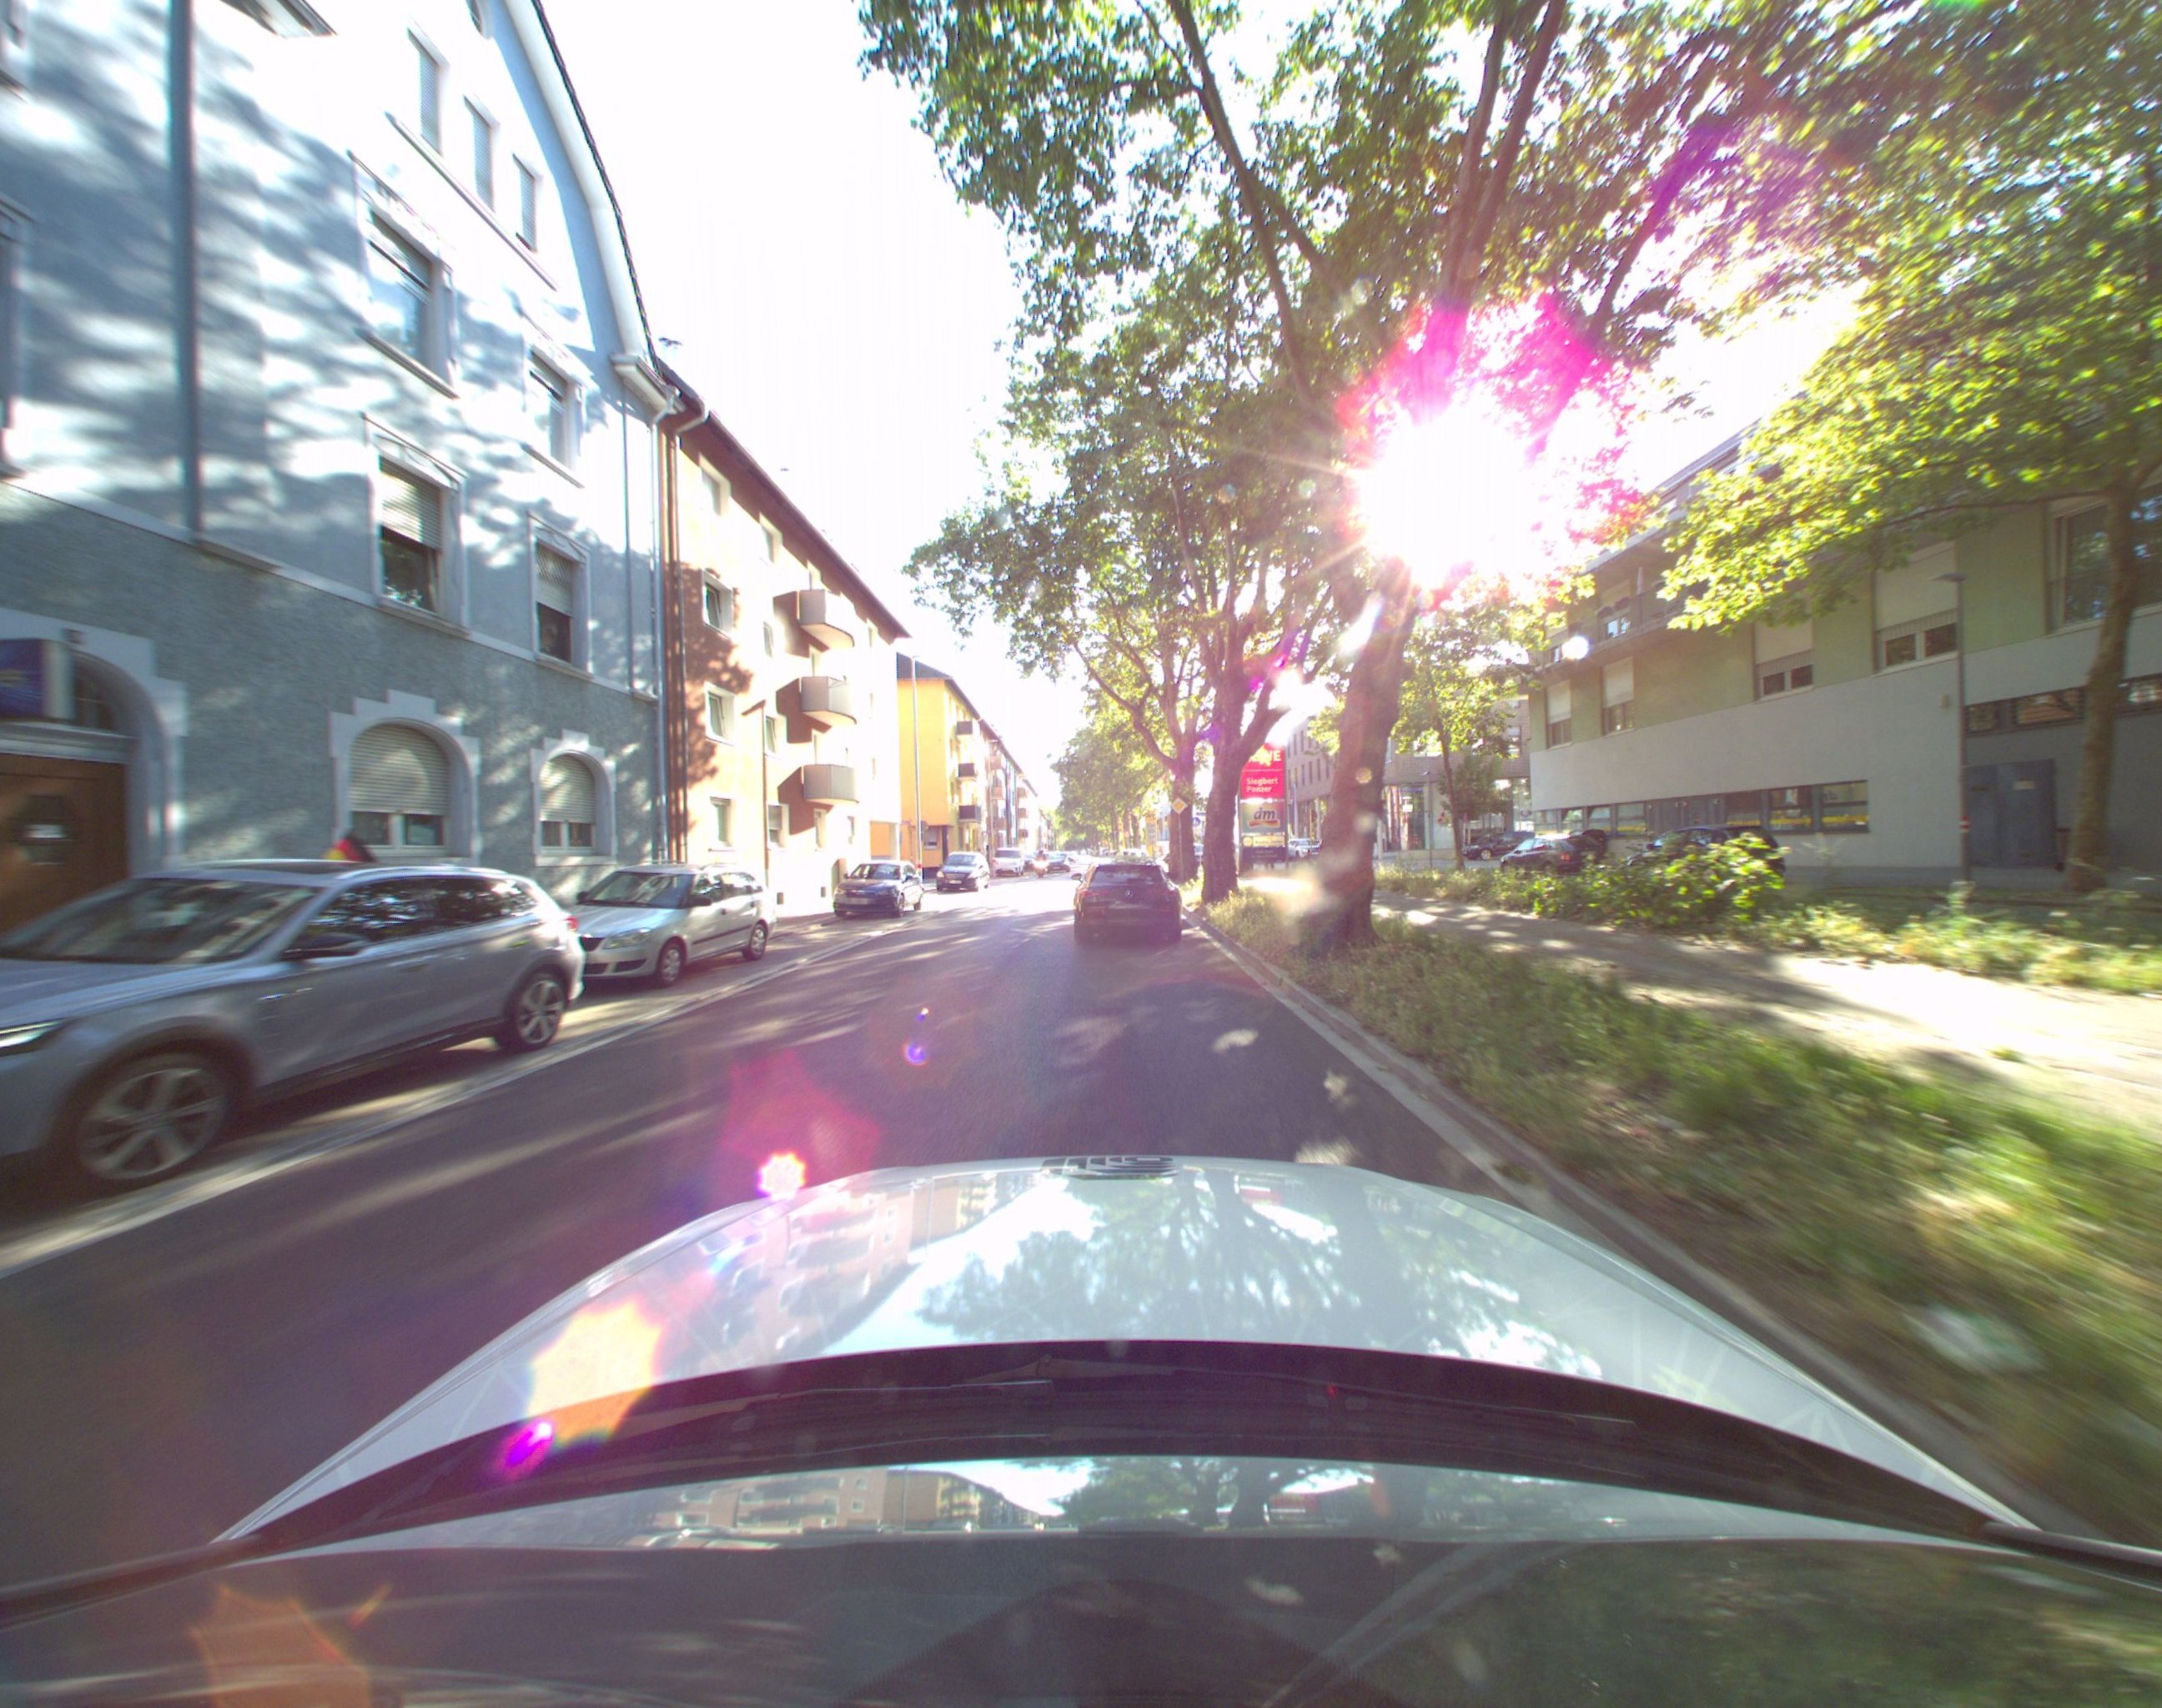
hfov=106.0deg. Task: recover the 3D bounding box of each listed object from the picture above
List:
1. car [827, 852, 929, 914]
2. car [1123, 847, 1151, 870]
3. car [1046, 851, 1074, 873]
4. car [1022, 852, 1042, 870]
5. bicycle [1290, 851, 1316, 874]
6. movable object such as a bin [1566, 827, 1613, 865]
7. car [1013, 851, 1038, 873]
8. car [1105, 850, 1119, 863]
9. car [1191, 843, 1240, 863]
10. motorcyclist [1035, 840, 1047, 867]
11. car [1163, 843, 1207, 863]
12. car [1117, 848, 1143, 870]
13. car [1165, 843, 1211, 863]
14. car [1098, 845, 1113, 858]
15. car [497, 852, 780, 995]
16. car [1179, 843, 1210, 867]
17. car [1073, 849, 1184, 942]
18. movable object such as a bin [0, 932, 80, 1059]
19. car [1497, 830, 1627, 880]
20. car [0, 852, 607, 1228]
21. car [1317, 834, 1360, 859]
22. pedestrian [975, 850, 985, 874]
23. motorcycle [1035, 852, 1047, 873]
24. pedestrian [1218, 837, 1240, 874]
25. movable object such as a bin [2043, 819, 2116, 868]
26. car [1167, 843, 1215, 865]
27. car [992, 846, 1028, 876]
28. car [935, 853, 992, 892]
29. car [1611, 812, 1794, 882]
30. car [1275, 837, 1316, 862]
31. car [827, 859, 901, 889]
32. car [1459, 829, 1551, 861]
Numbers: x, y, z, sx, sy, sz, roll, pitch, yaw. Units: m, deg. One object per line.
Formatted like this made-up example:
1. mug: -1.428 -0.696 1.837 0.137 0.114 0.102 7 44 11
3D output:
1. car: -5.341 0.711 21.854 1.671 1.486 3.603 0 0 2
2. car: 4.049 0.328 58.955 1.630 1.468 4.019 -4 -1 -1
3. car: -1.528 0.559 61.021 1.765 1.478 4.323 -3 0 1
4. car: -4.535 0.611 76.028 1.592 1.641 4.411 0 0 -1
5. bicycle: 10.142 0.400 37.256 0.383 1.003 1.478 -2 0 -15
6. movable object such as a bin: 20.470 -0.329 32.817 1.185 1.463 1.412 -2 0 12
7. car: -4.554 0.631 67.510 1.740 1.787 4.548 0 0 -1
8. car: 4.016 0.332 106.492 1.717 1.557 3.599 0 0 -1
9. car: 11.075 -0.083 66.882 3.834 1.545 1.645 -2 0 -33
10. motorcyclist: -2.455 -0.032 49.855 0.584 1.605 0.831 -2 0 0
11. car: 9.692 -0.112 75.643 3.837 1.578 1.727 -3 1 -37
12. car: 3.944 0.424 65.787 1.804 1.538 4.584 -5 0 1
13. car: 9.425 -0.103 71.592 3.837 1.578 1.722 -3 1 -37
14. car: 3.927 -0.365 131.977 1.989 2.014 3.995 -1 -1 -3
15. car: -5.886 0.809 11.474 1.671 1.641 3.987 0 0 2
16. car: 8.608 0.054 61.911 1.746 1.669 4.158 -2 0 0
17. car: 0.812 0.637 14.725 1.738 1.443 3.971 0 0 2
18. movable object such as a bin: -8.791 1.150 6.569 0.555 0.946 0.670 -2 0 2
19. car: 15.920 0.031 27.216 1.853 1.468 4.122 -2 0 -1
20. car: -5.610 0.814 5.568 1.900 1.641 4.580 0 0 2
21. car: 19.389 -0.574 61.430 1.978 1.733 4.182 -2 0 1
22. pedestrian: -7.501 0.601 60.601 0.585 1.790 0.642 -2 0 1
23. motorcycle: -2.430 0.525 49.879 0.545 1.241 2.264 -4 0 1
24. pedestrian: 7.194 0.084 39.635 0.767 1.761 0.662 -4 0 -9
25. movable object such as a bin: 20.357 -0.210 16.614 0.626 0.943 0.663 -3 0 1
26. car: 9.255 -0.032 68.373 3.836 1.609 1.722 -3 1 -35
27. car: -4.776 0.447 55.061 1.727 1.907 5.212 -1 0 2
28. car: -4.966 0.750 34.804 1.671 1.523 4.023 0 0 2
29. car: 15.748 -0.176 20.899 1.852 1.552 3.761 -2 0 1
30. car: 16.148 -0.327 61.557 1.870 1.733 4.178 -2 0 -2
31. car: -12.591 1.126 47.359 3.770 1.566 1.749 -2 0 1
32. car: 25.464 -0.571 48.997 4.471 1.662 2.029 -3 1 -2
